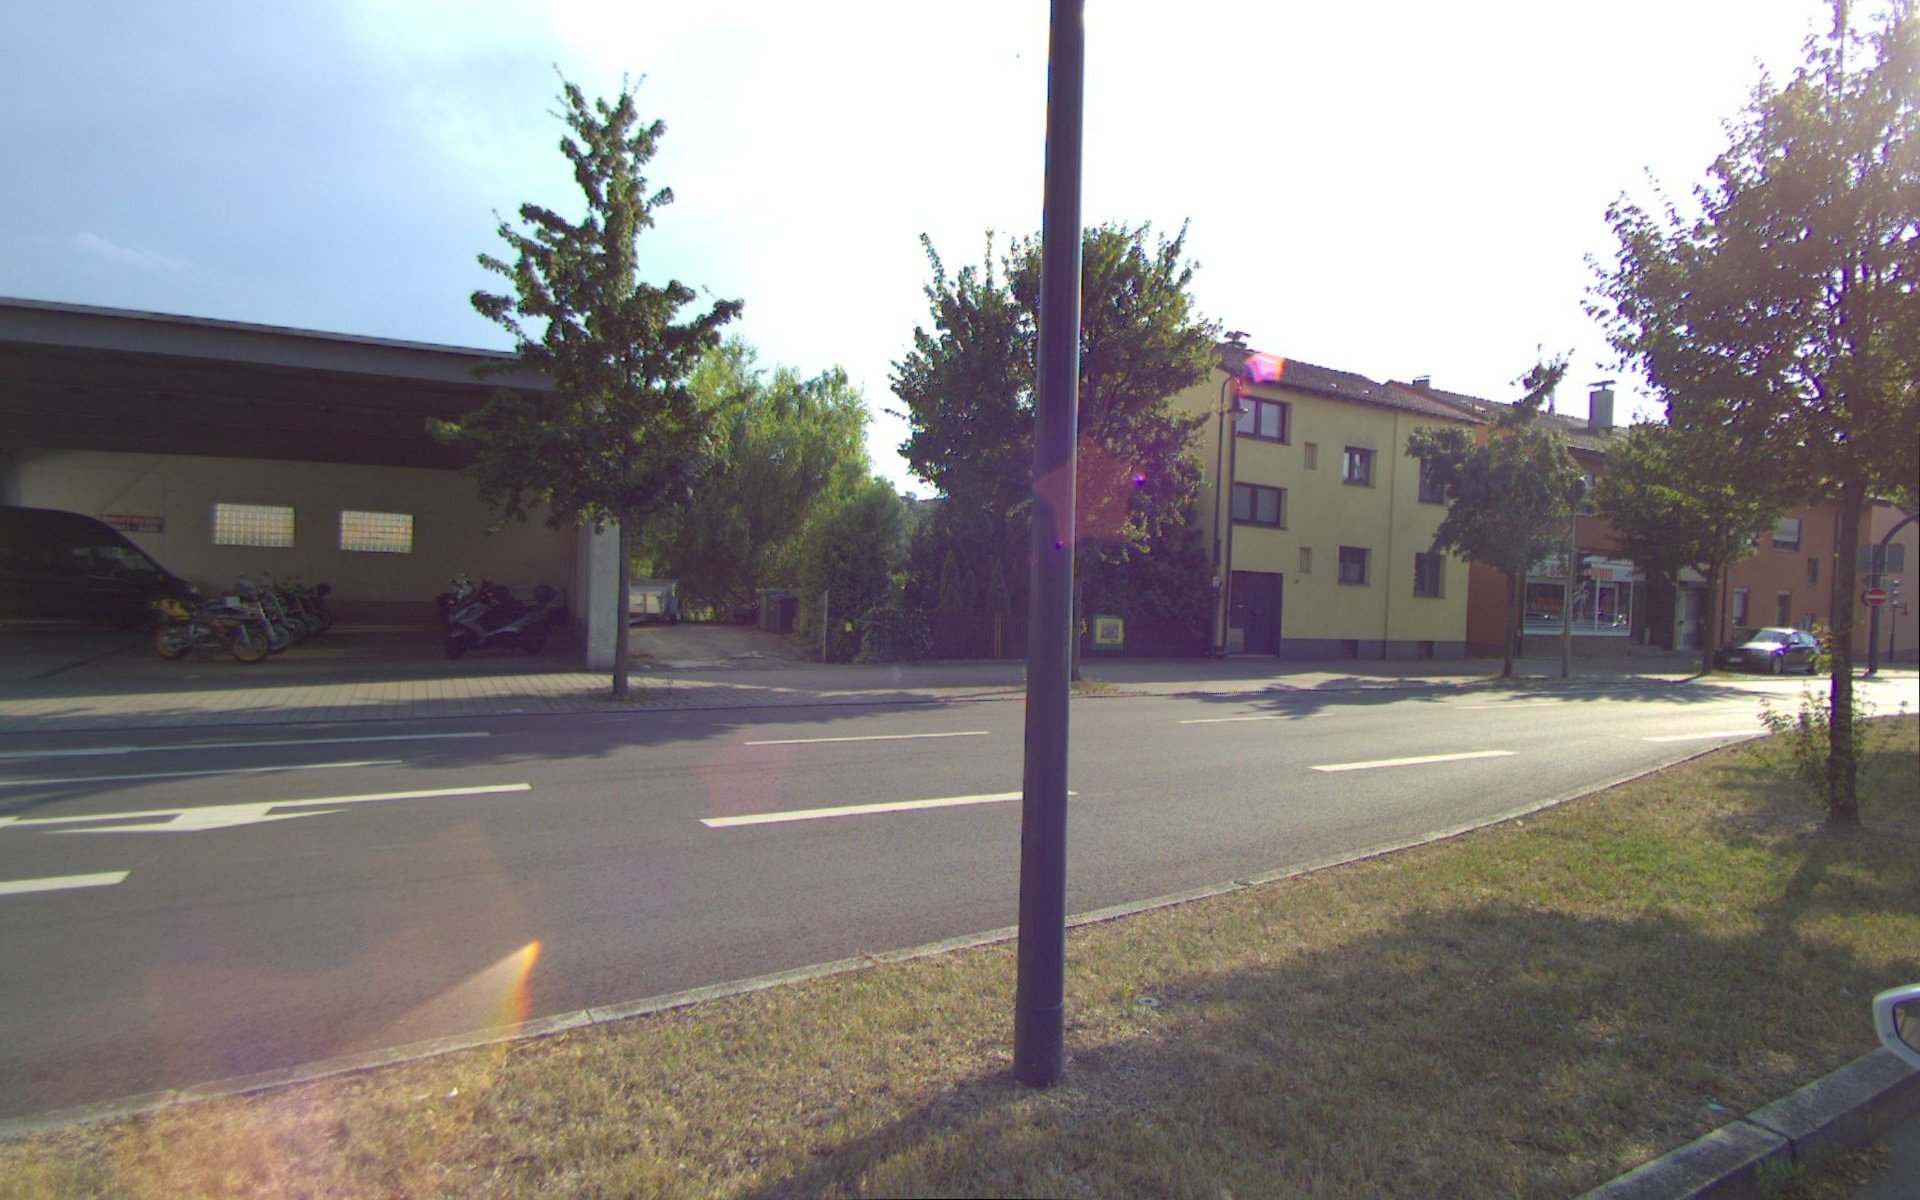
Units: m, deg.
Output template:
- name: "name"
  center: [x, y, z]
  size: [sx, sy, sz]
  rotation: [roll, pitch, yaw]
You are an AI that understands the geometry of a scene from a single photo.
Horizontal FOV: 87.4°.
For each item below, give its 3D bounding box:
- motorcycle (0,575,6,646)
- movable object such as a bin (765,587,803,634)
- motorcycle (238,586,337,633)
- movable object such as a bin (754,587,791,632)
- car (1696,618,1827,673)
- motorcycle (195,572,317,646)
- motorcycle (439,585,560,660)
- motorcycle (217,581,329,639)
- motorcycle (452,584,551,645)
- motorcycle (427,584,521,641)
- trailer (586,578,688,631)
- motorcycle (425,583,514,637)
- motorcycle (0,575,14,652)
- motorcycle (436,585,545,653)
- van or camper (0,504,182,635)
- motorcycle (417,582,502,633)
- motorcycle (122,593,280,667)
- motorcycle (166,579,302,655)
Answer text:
- name: "motorcycle"
  center: [-18.640, 0.182, 18.099]
  size: [0.637, 1.329, 2.007]
  rotation: [1, 0, 23]
- name: "movable object such as a bin"
  center: [-4.344, 0.265, 24.819]
  size: [0.688, 1.101, 0.727]
  rotation: [1, 3, -30]
- name: "motorcycle"
  center: [-17.072, 0.232, 25.528]
  size: [2.111, 1.138, 0.563]
  rotation: [1, 0, 0]
- name: "movable object such as a bin"
  center: [-4.785, 0.236, 25.591]
  size: [0.712, 1.101, 0.727]
  rotation: [1, 3, -30]
- name: "car"
  center: [26.004, 1.449, 32.587]
  size: [3.949, 1.573, 1.836]
  rotation: [1, 2, -27]
- name: "motorcycle"
  center: [-14.714, 0.185, 21.009]
  size: [2.111, 1.468, 0.594]
  rotation: [1, 0, 0]
- name: "motorcycle"
  center: [-8.632, 0.415, 18.921]
  size: [0.553, 1.325, 2.112]
  rotation: [1, 0, 30]
- name: "motorcycle"
  center: [-15.835, 0.220, 23.179]
  size: [2.111, 1.275, 0.647]
  rotation: [1, 0, 0]
- name: "motorcycle"
  center: [-10.482, 0.334, 23.048]
  size: [0.612, 1.325, 2.086]
  rotation: [1, 0, 30]
- name: "motorcycle"
  center: [-11.805, 0.308, 24.460]
  size: [0.573, 1.325, 2.086]
  rotation: [1, 0, 30]
- name: "trailer"
  center: [-8.119, 0.064, 25.526]
  size: [1.692, 1.199, 3.594]
  rotation: [1, 1, -5]
- name: "motorcycle"
  center: [-12.572, 0.268, 25.803]
  size: [0.553, 1.325, 2.086]
  rotation: [1, 0, 30]
- name: "motorcycle"
  center: [-17.245, 0.215, 16.771]
  size: [0.637, 1.329, 2.007]
  rotation: [1, 0, 23]
- name: "motorcycle"
  center: [-9.670, 0.391, 20.781]
  size: [0.553, 1.325, 2.086]
  rotation: [1, 0, 30]
- name: "van or camper"
  center: [-20.439, -0.651, 21.984]
  size: [1.963, 2.716, 5.033]
  rotation: [1, 0, 26]
- name: "motorcycle"
  center: [-13.513, 0.203, 27.170]
  size: [0.553, 1.325, 2.086]
  rotation: [1, 0, 30]
- name: "motorcycle"
  center: [-12.513, 0.486, 16.599]
  size: [2.111, 1.139, 0.631]
  rotation: [1, 0, 0]
- name: "motorcycle"
  center: [-13.550, 0.319, 18.777]
  size: [2.111, 1.347, 0.563]
  rotation: [1, 0, 0]
